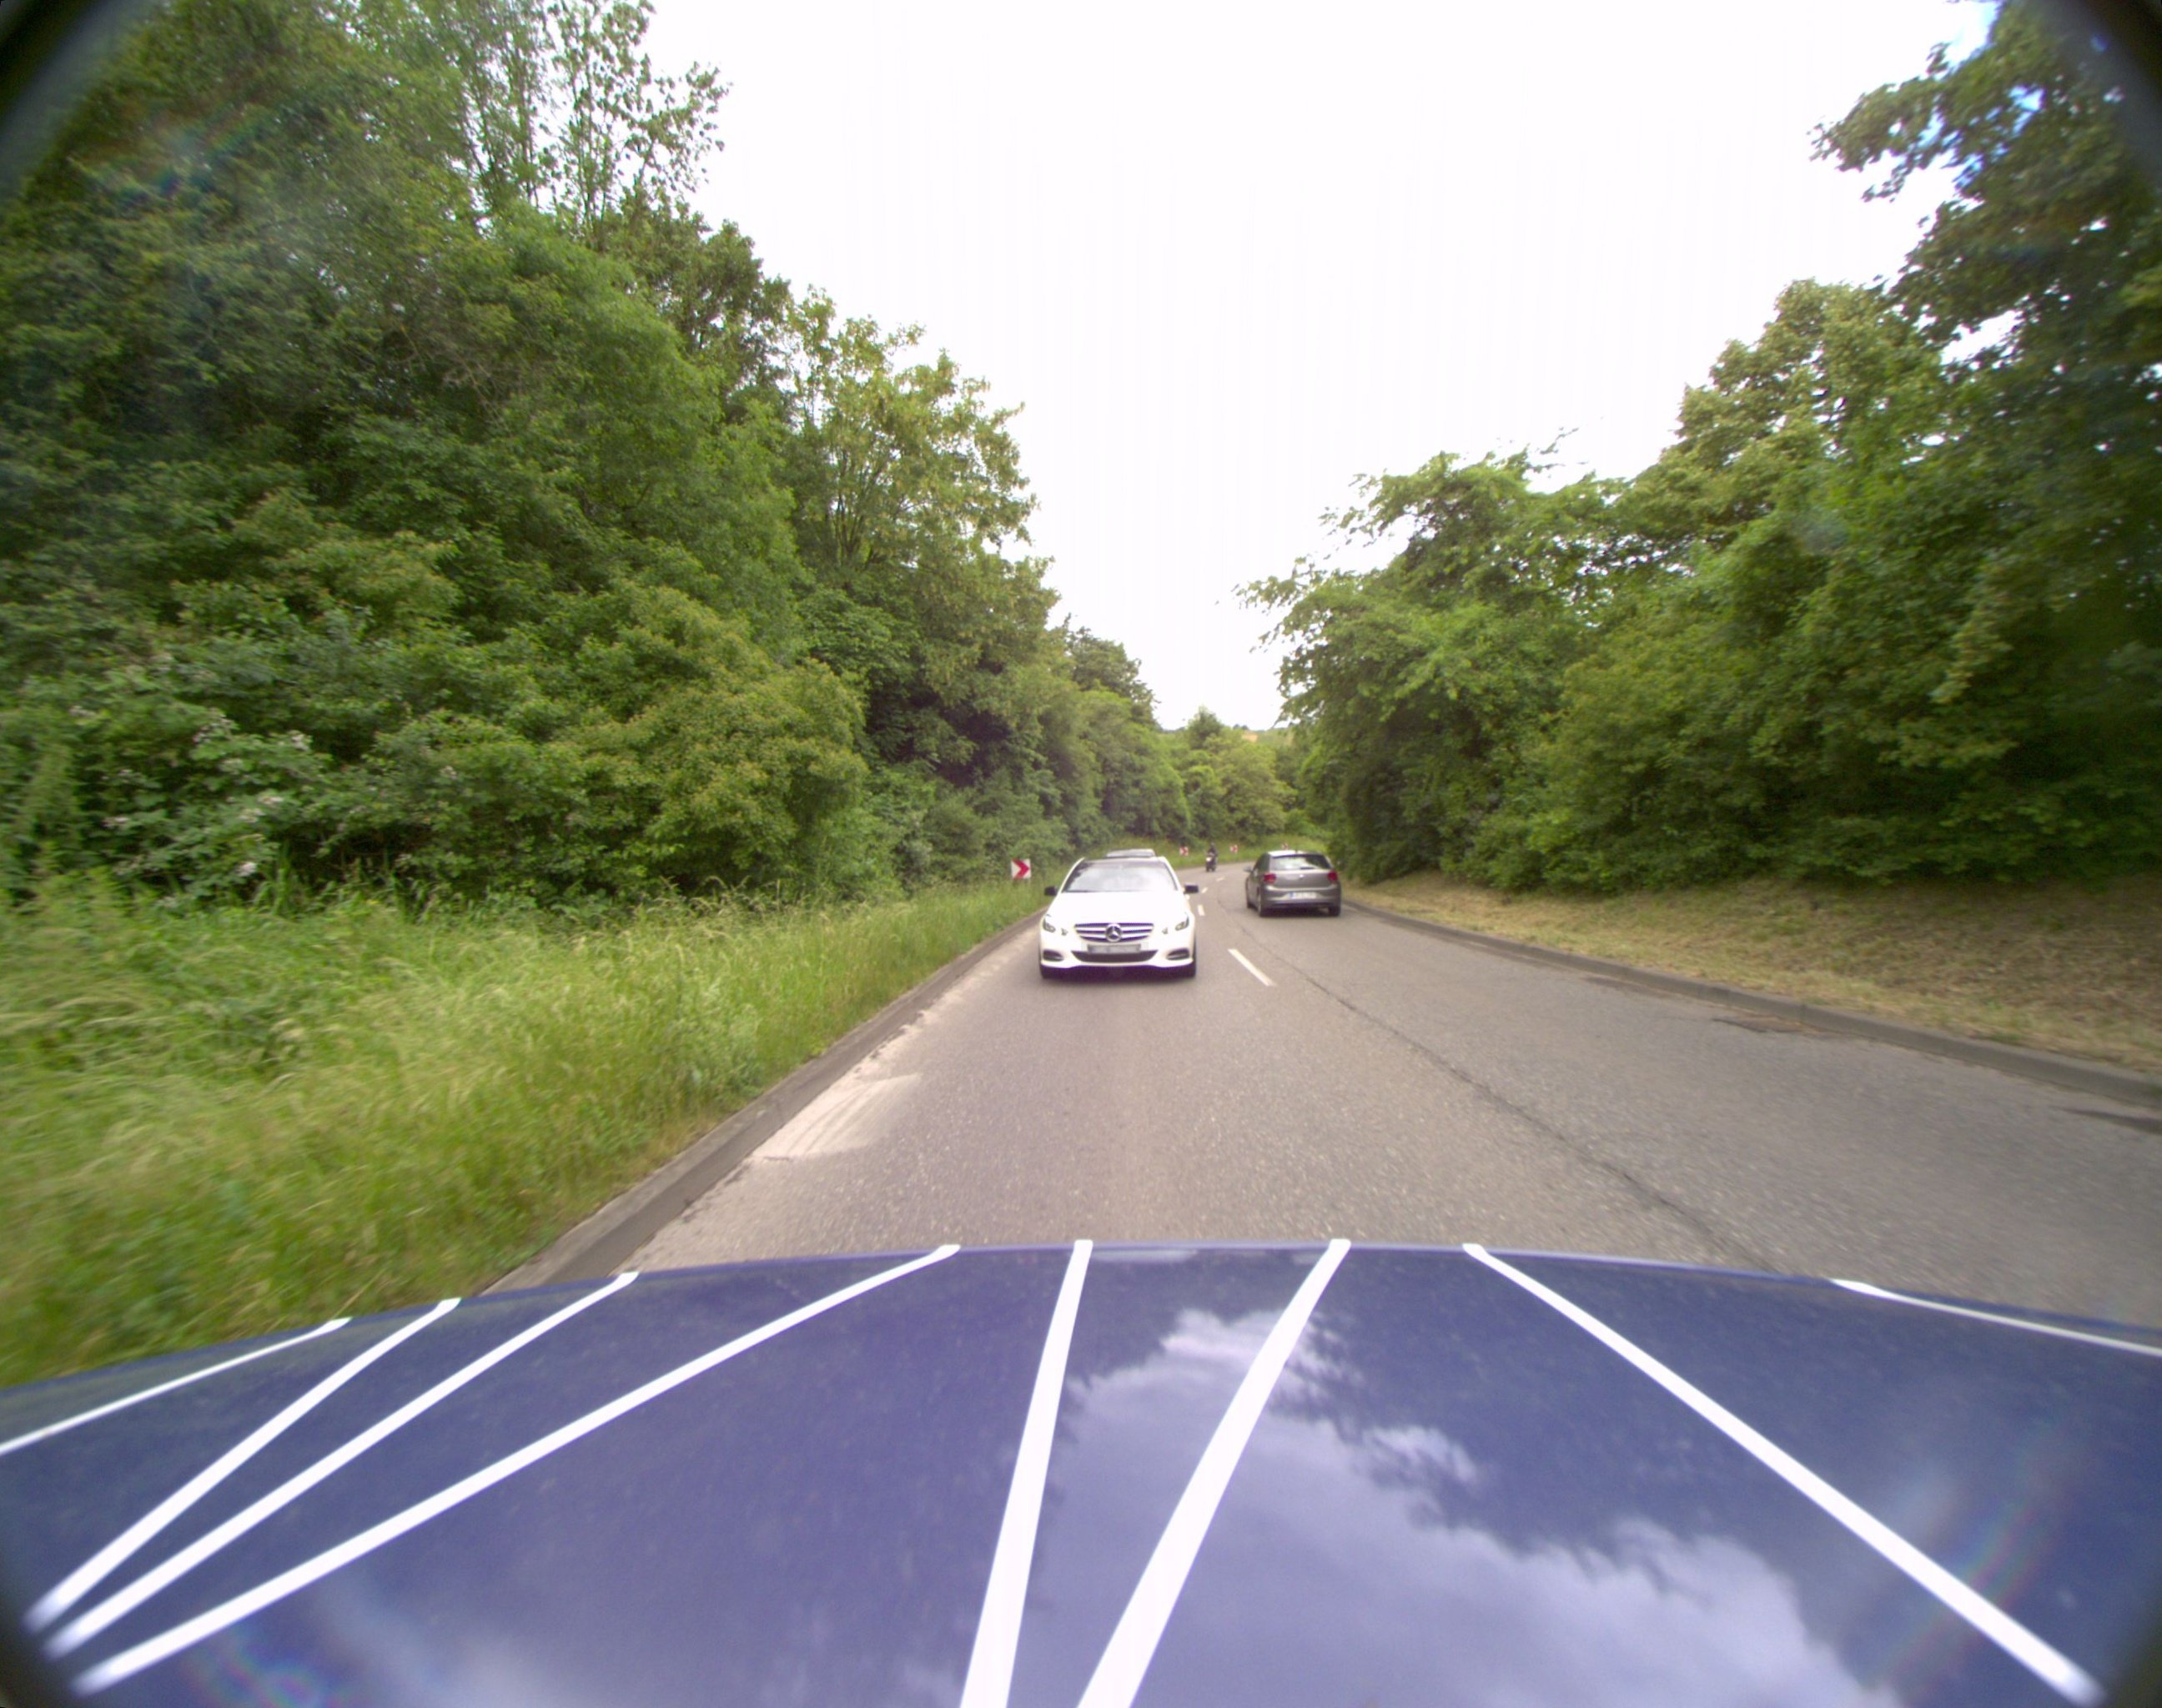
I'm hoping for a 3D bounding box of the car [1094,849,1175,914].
[{"bbox_3d":[1.550,0.681,20.780,1.821,1.536,3.728,-2,1,9],"label":"car"}]

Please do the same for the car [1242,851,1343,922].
[{"bbox_3d":[4.741,0.669,17.462,1.637,1.397,3.598,-2,1,6],"label":"car"}]

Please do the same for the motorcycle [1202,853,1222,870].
[{"bbox_3d":[7.673,0.434,44.513,0.701,0.970,1.697,2,2,25],"label":"motorcycle"}]

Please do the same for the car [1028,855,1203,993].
[{"bbox_3d":[0.559,0.783,10.374,1.886,1.414,4.001,-2,1,5],"label":"car"}]

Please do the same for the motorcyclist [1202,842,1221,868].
[{"bbox_3d":[7.621,0.052,44.361,0.817,1.457,0.788,2,2,26],"label":"motorcyclist"}]
